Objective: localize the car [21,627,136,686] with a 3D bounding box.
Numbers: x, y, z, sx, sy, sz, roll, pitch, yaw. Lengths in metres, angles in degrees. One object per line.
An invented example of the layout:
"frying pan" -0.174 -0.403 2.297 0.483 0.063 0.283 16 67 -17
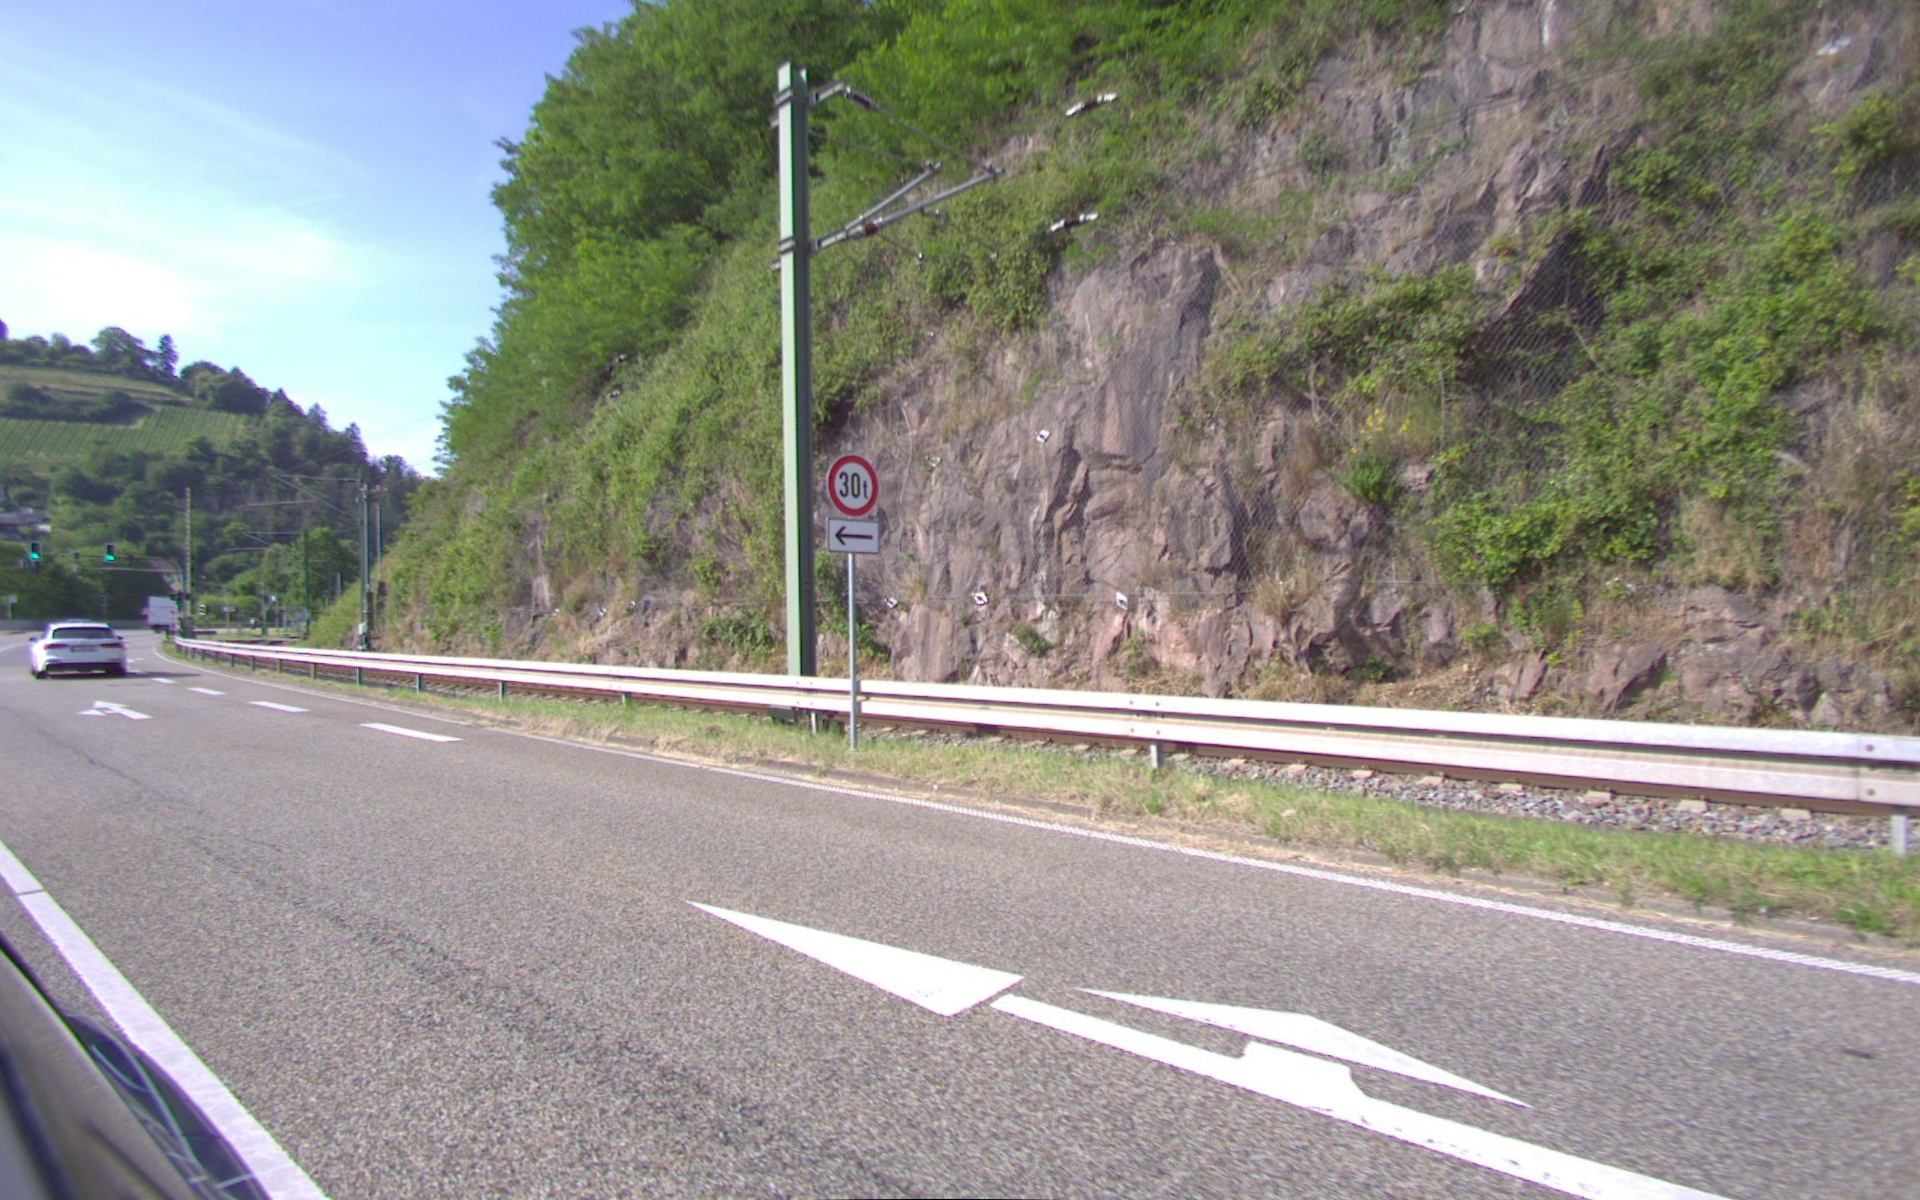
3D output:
"car" -24.170 1.487 27.691 4.688 1.450 2.040 -2 -2 45

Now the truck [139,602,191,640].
"truck" -84.525 2.264 107.780 2.856 3.828 8.921 1 -2 -29

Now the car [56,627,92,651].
"car" -61.988 2.726 70.778 1.698 1.582 4.139 1 -2 -43

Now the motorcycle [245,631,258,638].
"motorcycle" -102.253 4.918 145.975 0.813 0.961 2.224 0 -1 -15

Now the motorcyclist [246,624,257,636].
"motorcyclist" -102.219 4.320 145.996 0.992 1.728 0.868 0 -1 -17
